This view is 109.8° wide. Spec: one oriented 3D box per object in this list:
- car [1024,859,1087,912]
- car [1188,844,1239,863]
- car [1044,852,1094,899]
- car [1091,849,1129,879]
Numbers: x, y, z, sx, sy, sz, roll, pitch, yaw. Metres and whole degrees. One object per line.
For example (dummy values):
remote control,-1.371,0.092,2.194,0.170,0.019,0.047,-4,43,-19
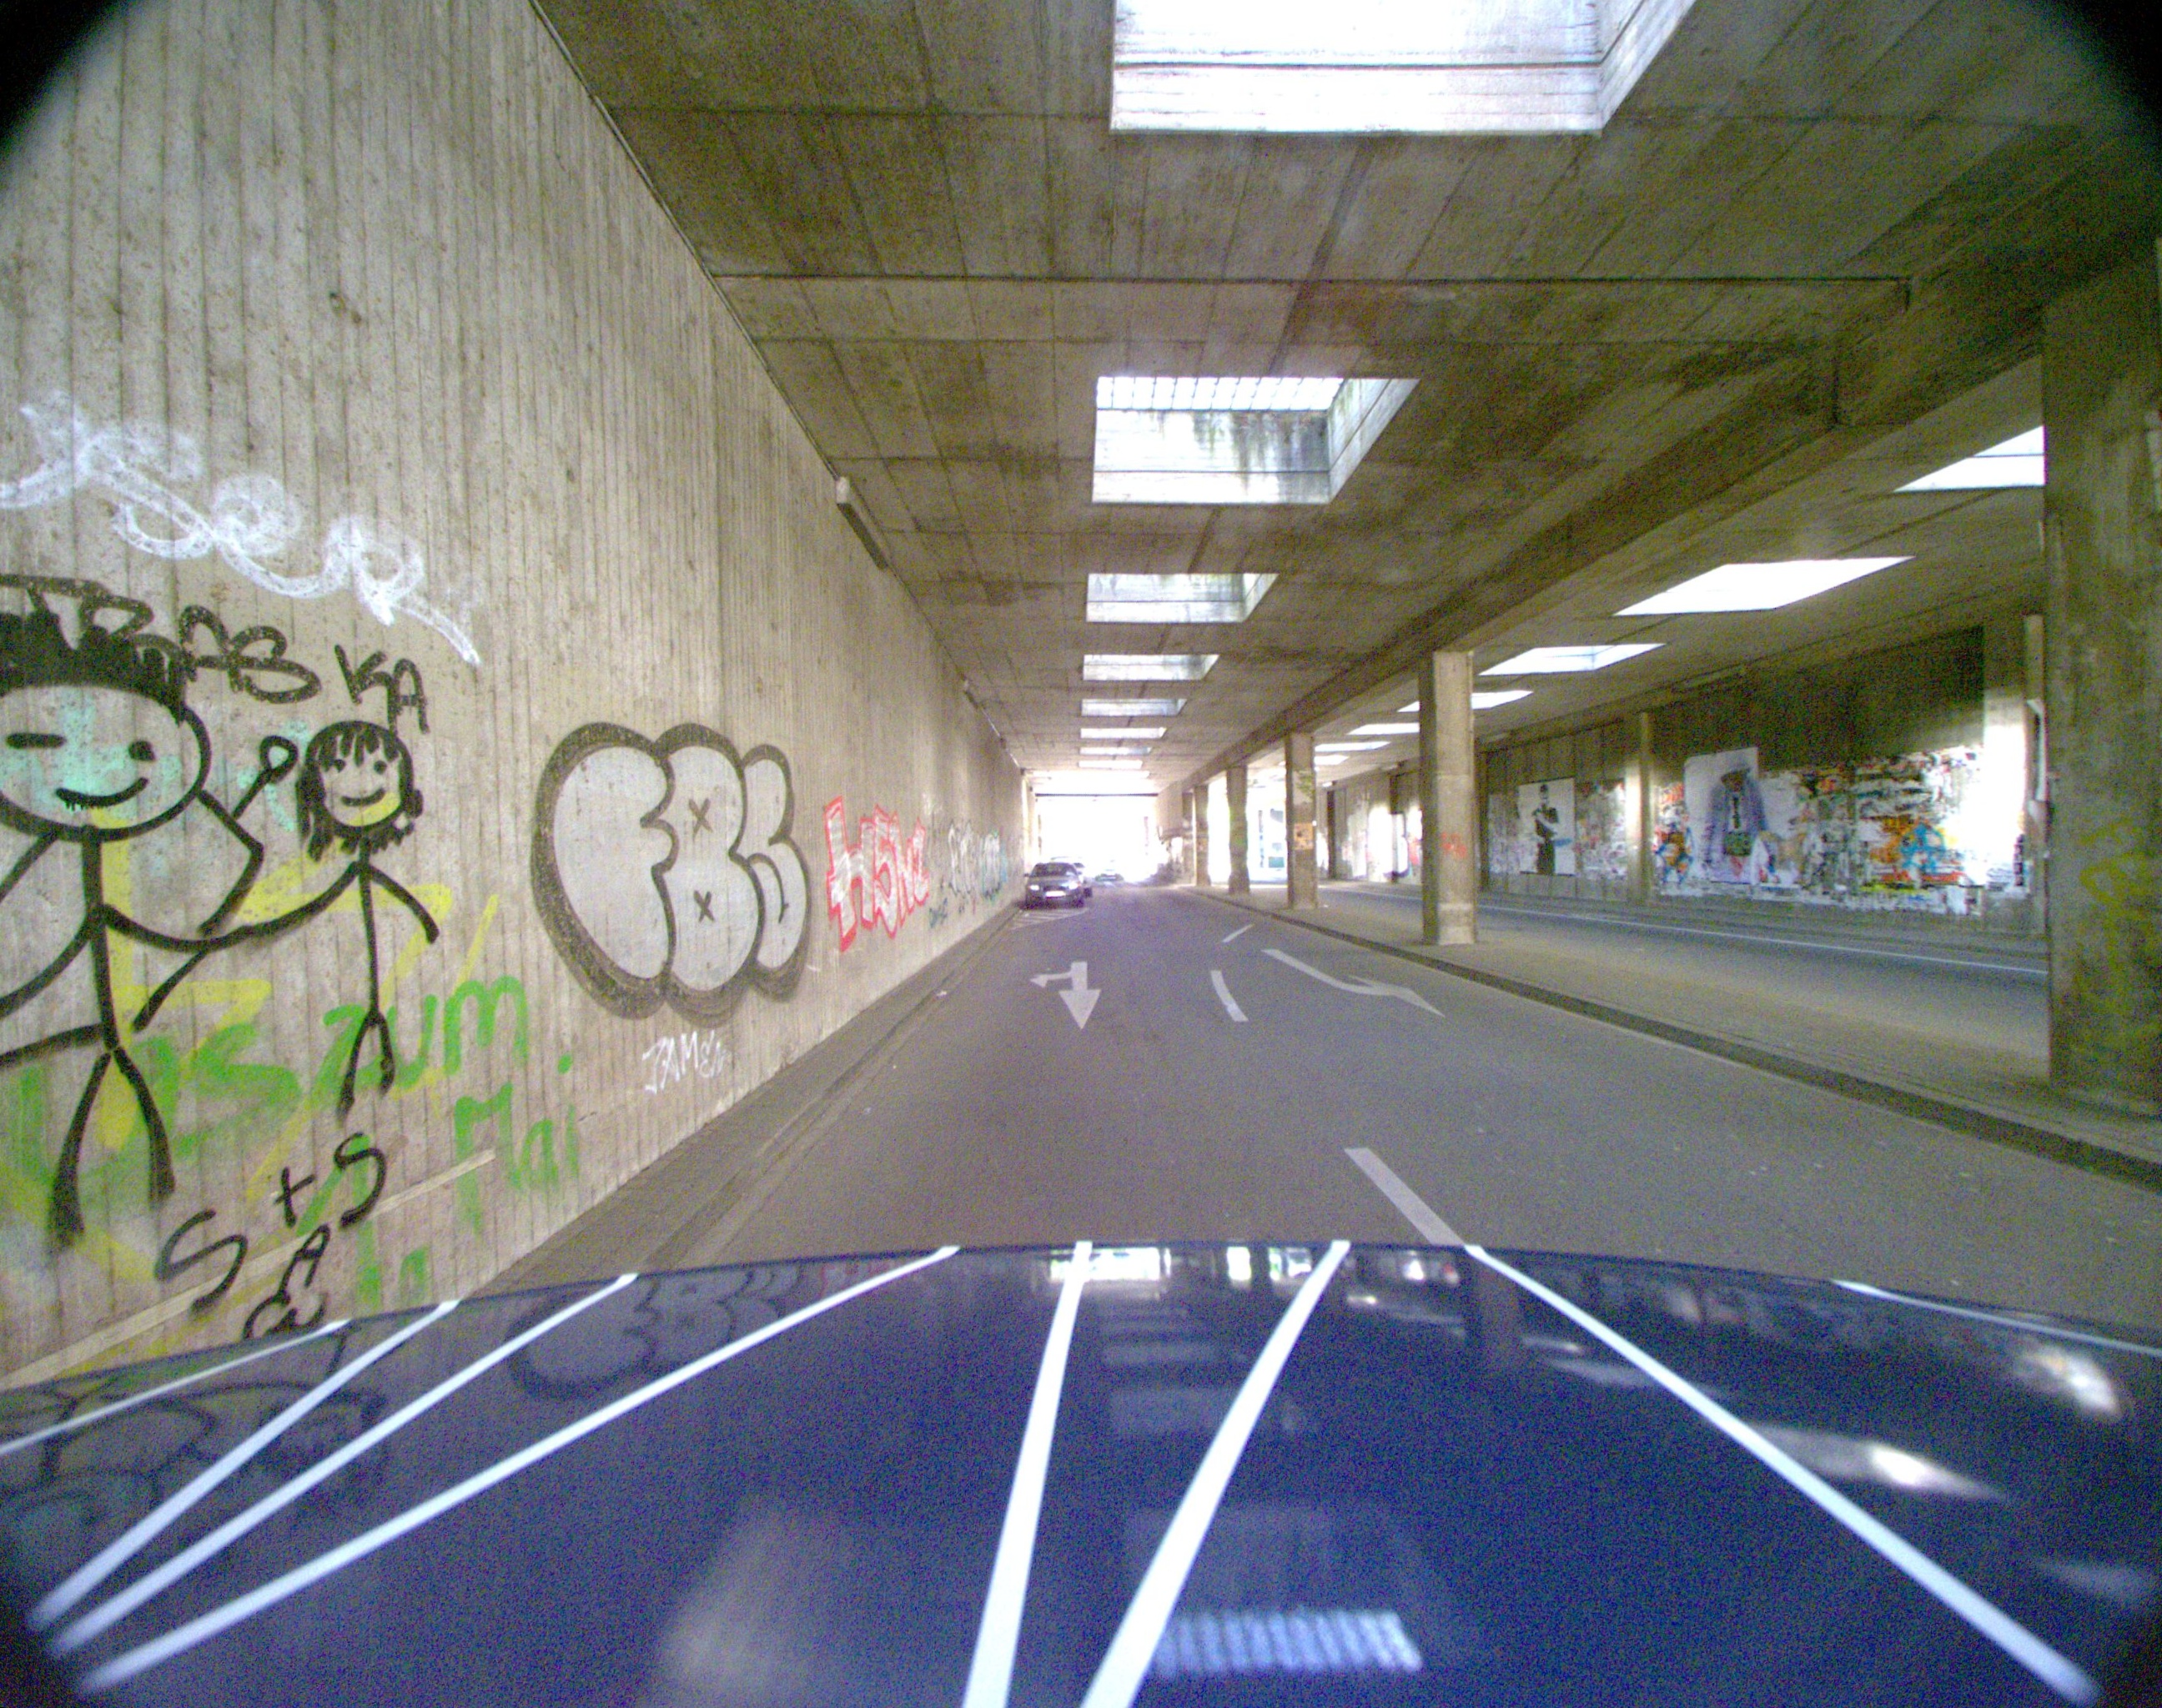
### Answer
car,-0.730,0.931,24.021,1.767,1.407,4.000,-2,1,1
car,13.794,-0.079,79.300,4.857,1.740,1.999,-2,1,-2
car,-0.514,0.772,29.775,1.767,1.634,3.999,-2,1,-2
car,1.815,0.594,49.151,1.999,1.740,4.858,-2,1,-2
